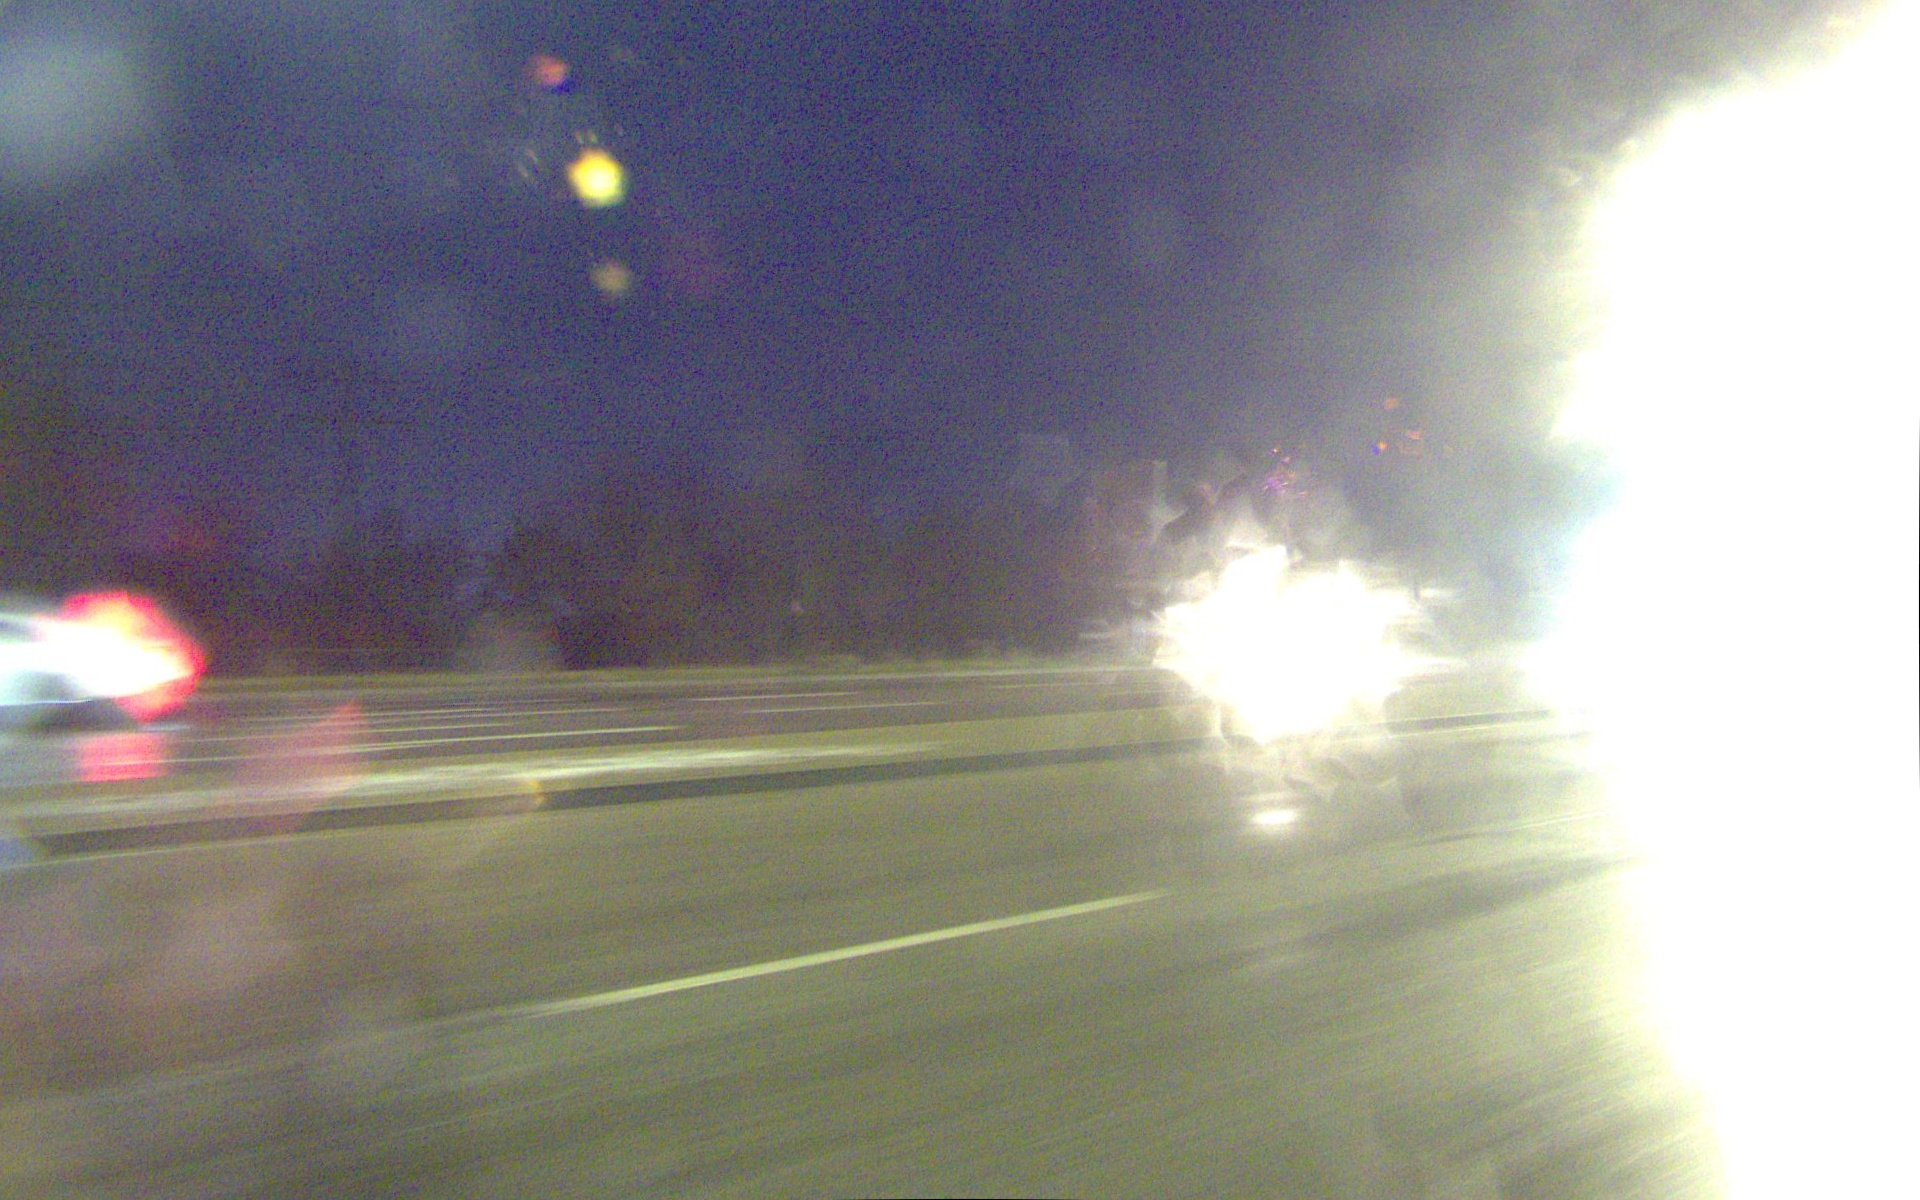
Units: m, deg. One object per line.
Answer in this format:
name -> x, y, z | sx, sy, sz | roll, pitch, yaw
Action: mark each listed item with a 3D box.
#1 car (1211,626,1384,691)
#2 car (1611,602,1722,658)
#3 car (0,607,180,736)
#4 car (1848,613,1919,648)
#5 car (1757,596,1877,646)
car -> 7.222, 1.185, 21.419 | 3.574, 1.219, 1.634 | 0, 0, -32
car -> 25.647, 1.039, 36.441 | 4.157, 1.918, 1.753 | 0, 0, -31
car -> -12.599, 0.851, 12.507 | 4.386, 1.551, 1.871 | 2, -2, -34
car -> 44.738, 1.487, 48.345 | 4.051, 1.475, 1.838 | 3, 0, -32
car -> 29.634, 0.724, 34.732 | 4.191, 1.630, 1.774 | 2, 0, -29
